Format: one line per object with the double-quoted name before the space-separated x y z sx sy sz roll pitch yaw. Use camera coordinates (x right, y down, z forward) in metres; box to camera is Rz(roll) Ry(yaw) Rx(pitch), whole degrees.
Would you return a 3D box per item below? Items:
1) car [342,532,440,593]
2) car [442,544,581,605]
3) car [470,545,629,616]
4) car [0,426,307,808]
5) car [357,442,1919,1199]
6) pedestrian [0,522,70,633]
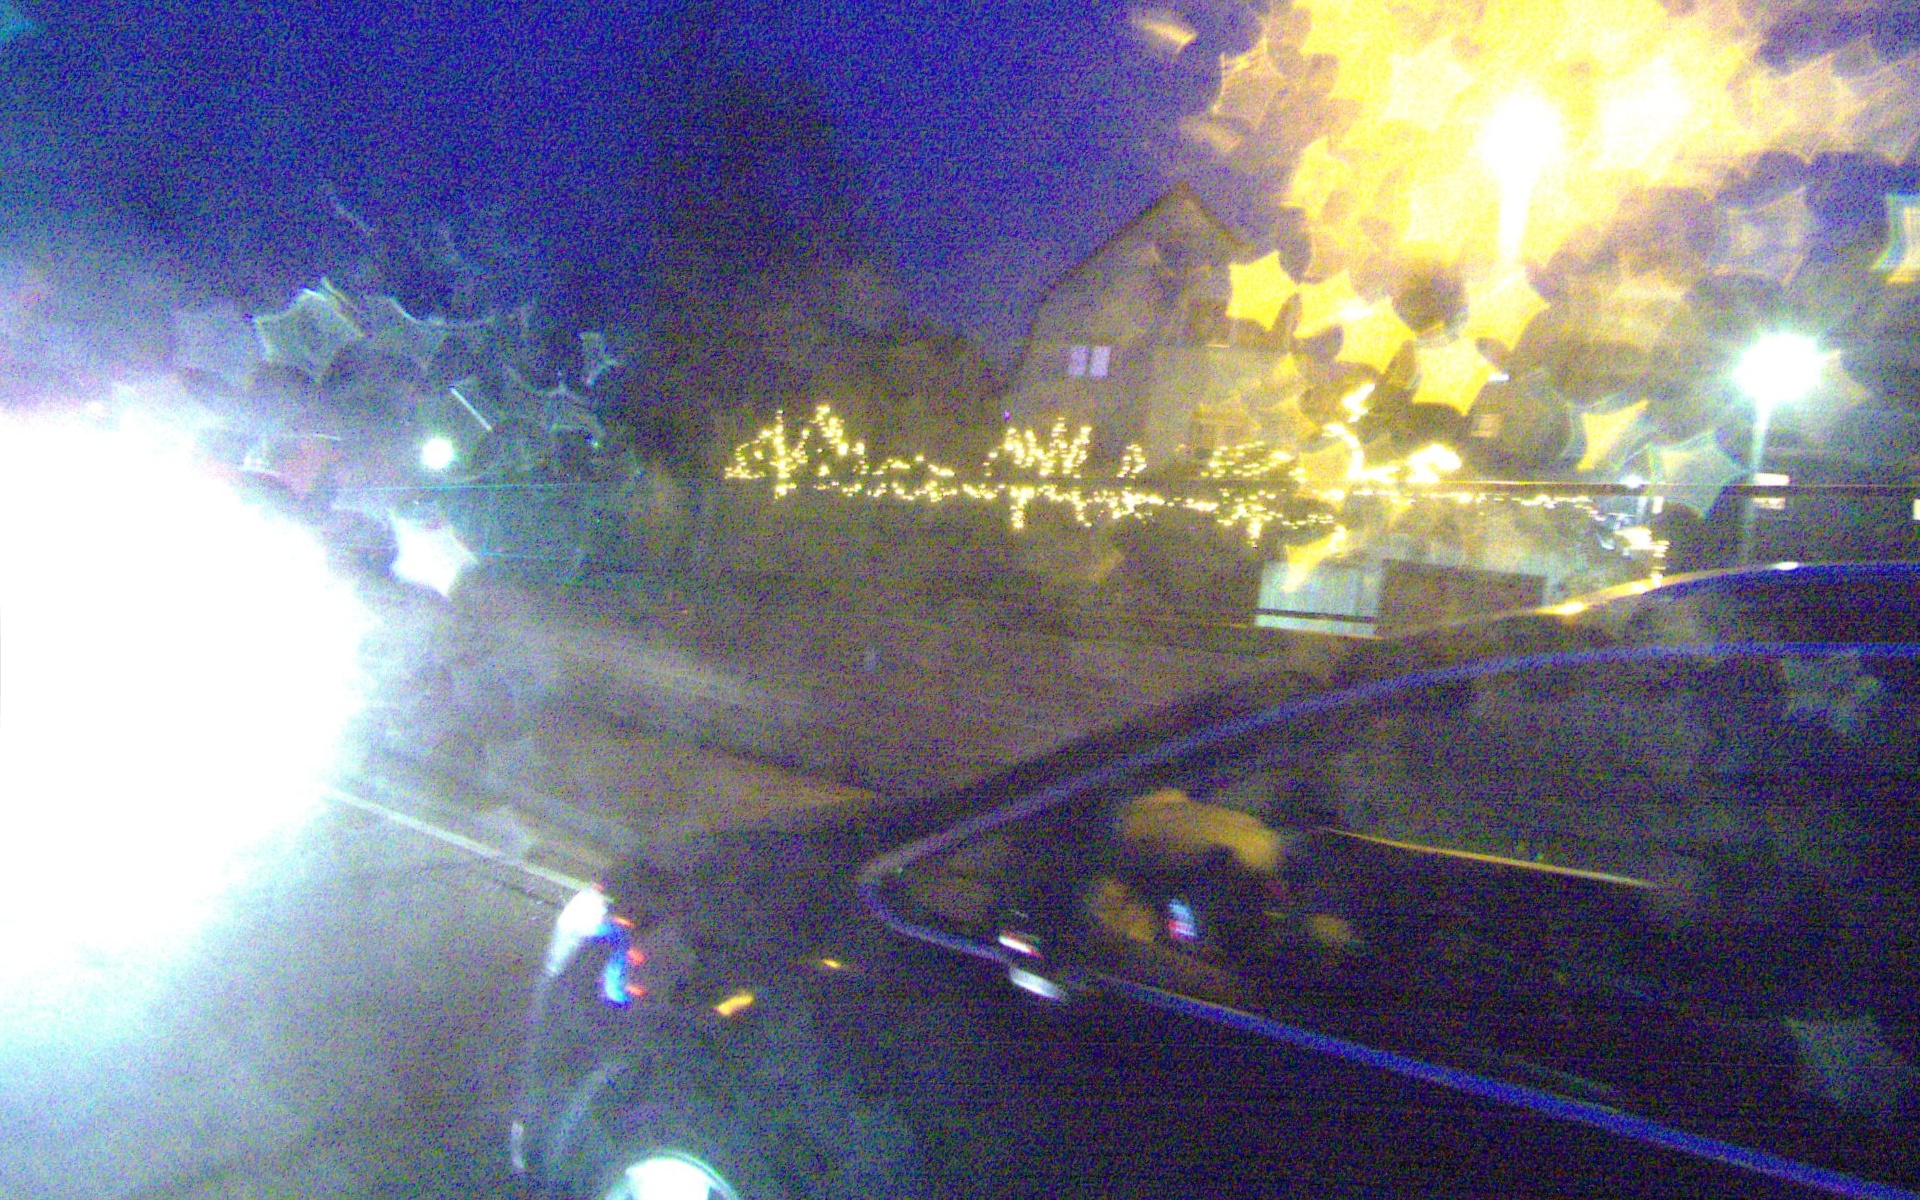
"car" -17.591 -1.178 30.982 1.714 1.500 4.656 9 -3 -39
"car" -15.339 -0.843 34.458 3.964 1.446 1.829 9 -3 -34
"car" -12.155 -0.550 29.878 3.921 1.503 1.745 10 -3 -40
"car" -6.363 -0.046 6.431 4.269 1.886 1.856 6 -2 32
"car" 1.367 0.848 1.540 4.860 1.755 1.838 6 -2 32
"pedestrian" -15.349 -0.357 16.432 0.608 1.721 0.868 7 -2 0
